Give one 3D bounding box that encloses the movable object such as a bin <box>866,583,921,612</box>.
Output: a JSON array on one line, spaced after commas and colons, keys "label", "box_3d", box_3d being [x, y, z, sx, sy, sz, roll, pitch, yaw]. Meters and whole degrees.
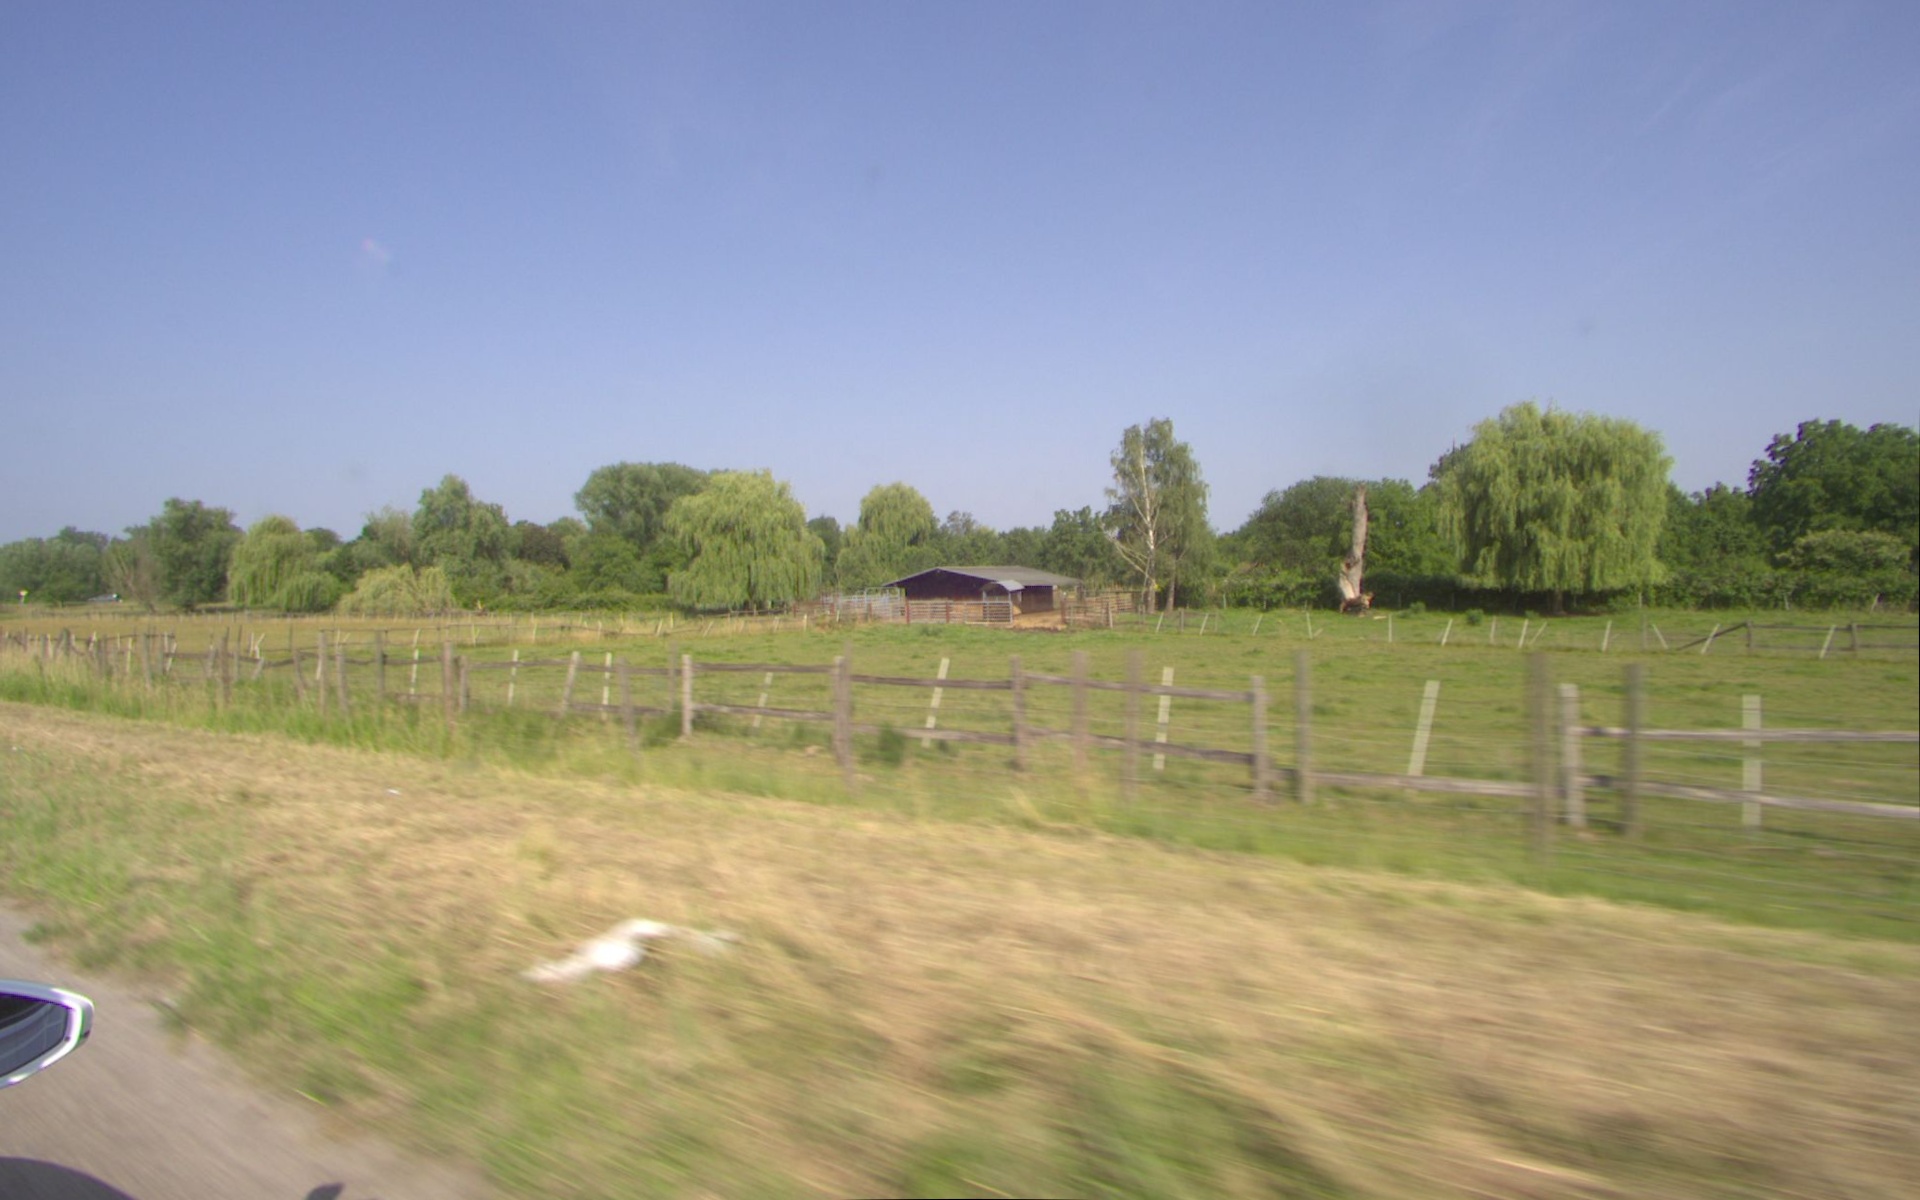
[{"label": "movable object such as a bin", "box_3d": [-5.290, -0.208, 79.649, 4.110, 2.222, 1.987, 0, 0, 37]}]
